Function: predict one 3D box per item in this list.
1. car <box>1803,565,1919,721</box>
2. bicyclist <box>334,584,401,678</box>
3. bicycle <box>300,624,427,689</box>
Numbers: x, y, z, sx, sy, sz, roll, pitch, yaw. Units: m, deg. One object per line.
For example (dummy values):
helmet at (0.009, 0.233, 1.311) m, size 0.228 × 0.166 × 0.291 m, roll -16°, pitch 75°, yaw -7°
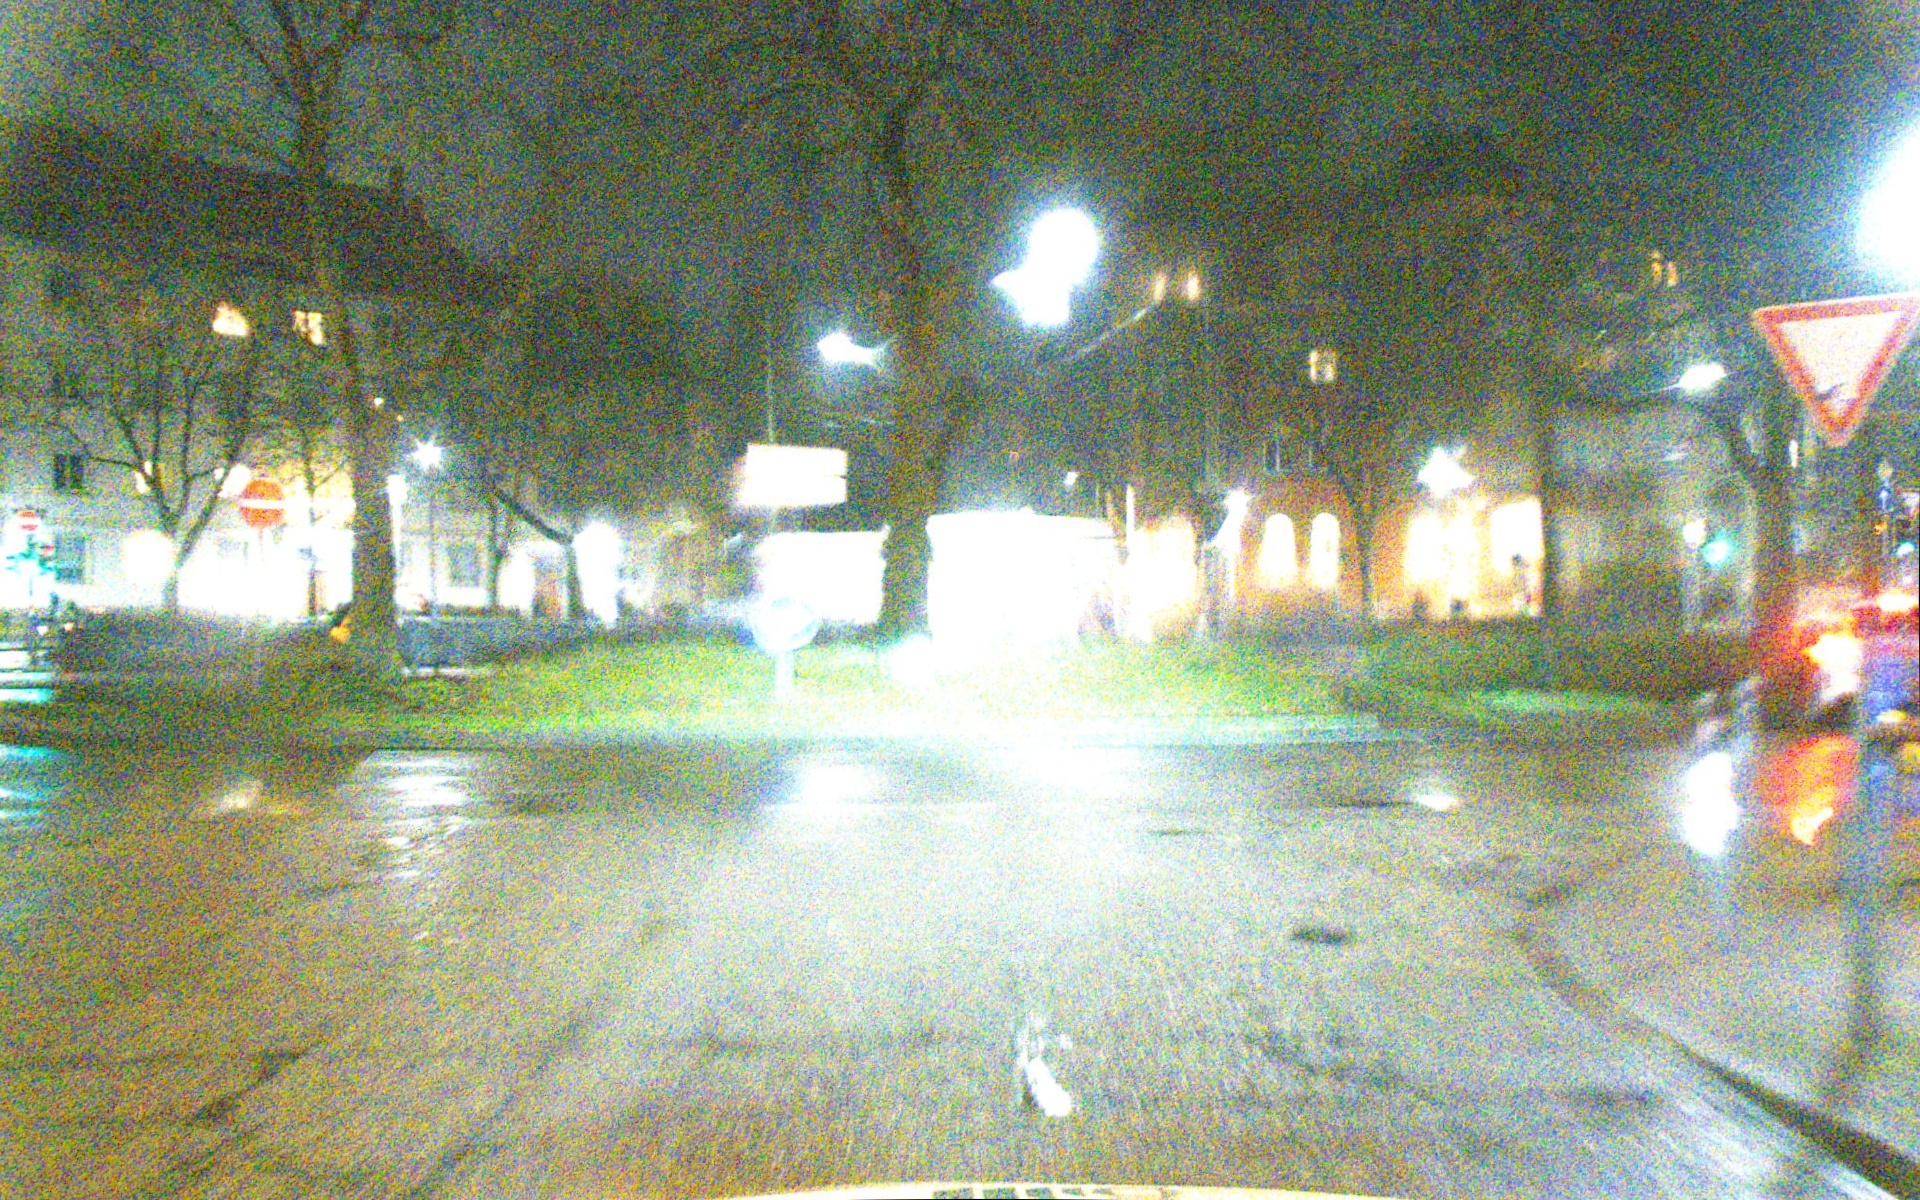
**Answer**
car at (11.357, 0.499, 18.642) m, size 3.413 × 1.641 × 1.719 m, roll 2°, pitch 0°, yaw -30°
bicyclist at (-9.034, 0.475, 25.217) m, size 0.880 × 1.404 × 0.501 m, roll 2°, pitch 0°, yaw -25°
bicycle at (-9.079, 0.866, 25.198) m, size 1.755 × 0.948 × 0.496 m, roll 2°, pitch 0°, yaw -25°
